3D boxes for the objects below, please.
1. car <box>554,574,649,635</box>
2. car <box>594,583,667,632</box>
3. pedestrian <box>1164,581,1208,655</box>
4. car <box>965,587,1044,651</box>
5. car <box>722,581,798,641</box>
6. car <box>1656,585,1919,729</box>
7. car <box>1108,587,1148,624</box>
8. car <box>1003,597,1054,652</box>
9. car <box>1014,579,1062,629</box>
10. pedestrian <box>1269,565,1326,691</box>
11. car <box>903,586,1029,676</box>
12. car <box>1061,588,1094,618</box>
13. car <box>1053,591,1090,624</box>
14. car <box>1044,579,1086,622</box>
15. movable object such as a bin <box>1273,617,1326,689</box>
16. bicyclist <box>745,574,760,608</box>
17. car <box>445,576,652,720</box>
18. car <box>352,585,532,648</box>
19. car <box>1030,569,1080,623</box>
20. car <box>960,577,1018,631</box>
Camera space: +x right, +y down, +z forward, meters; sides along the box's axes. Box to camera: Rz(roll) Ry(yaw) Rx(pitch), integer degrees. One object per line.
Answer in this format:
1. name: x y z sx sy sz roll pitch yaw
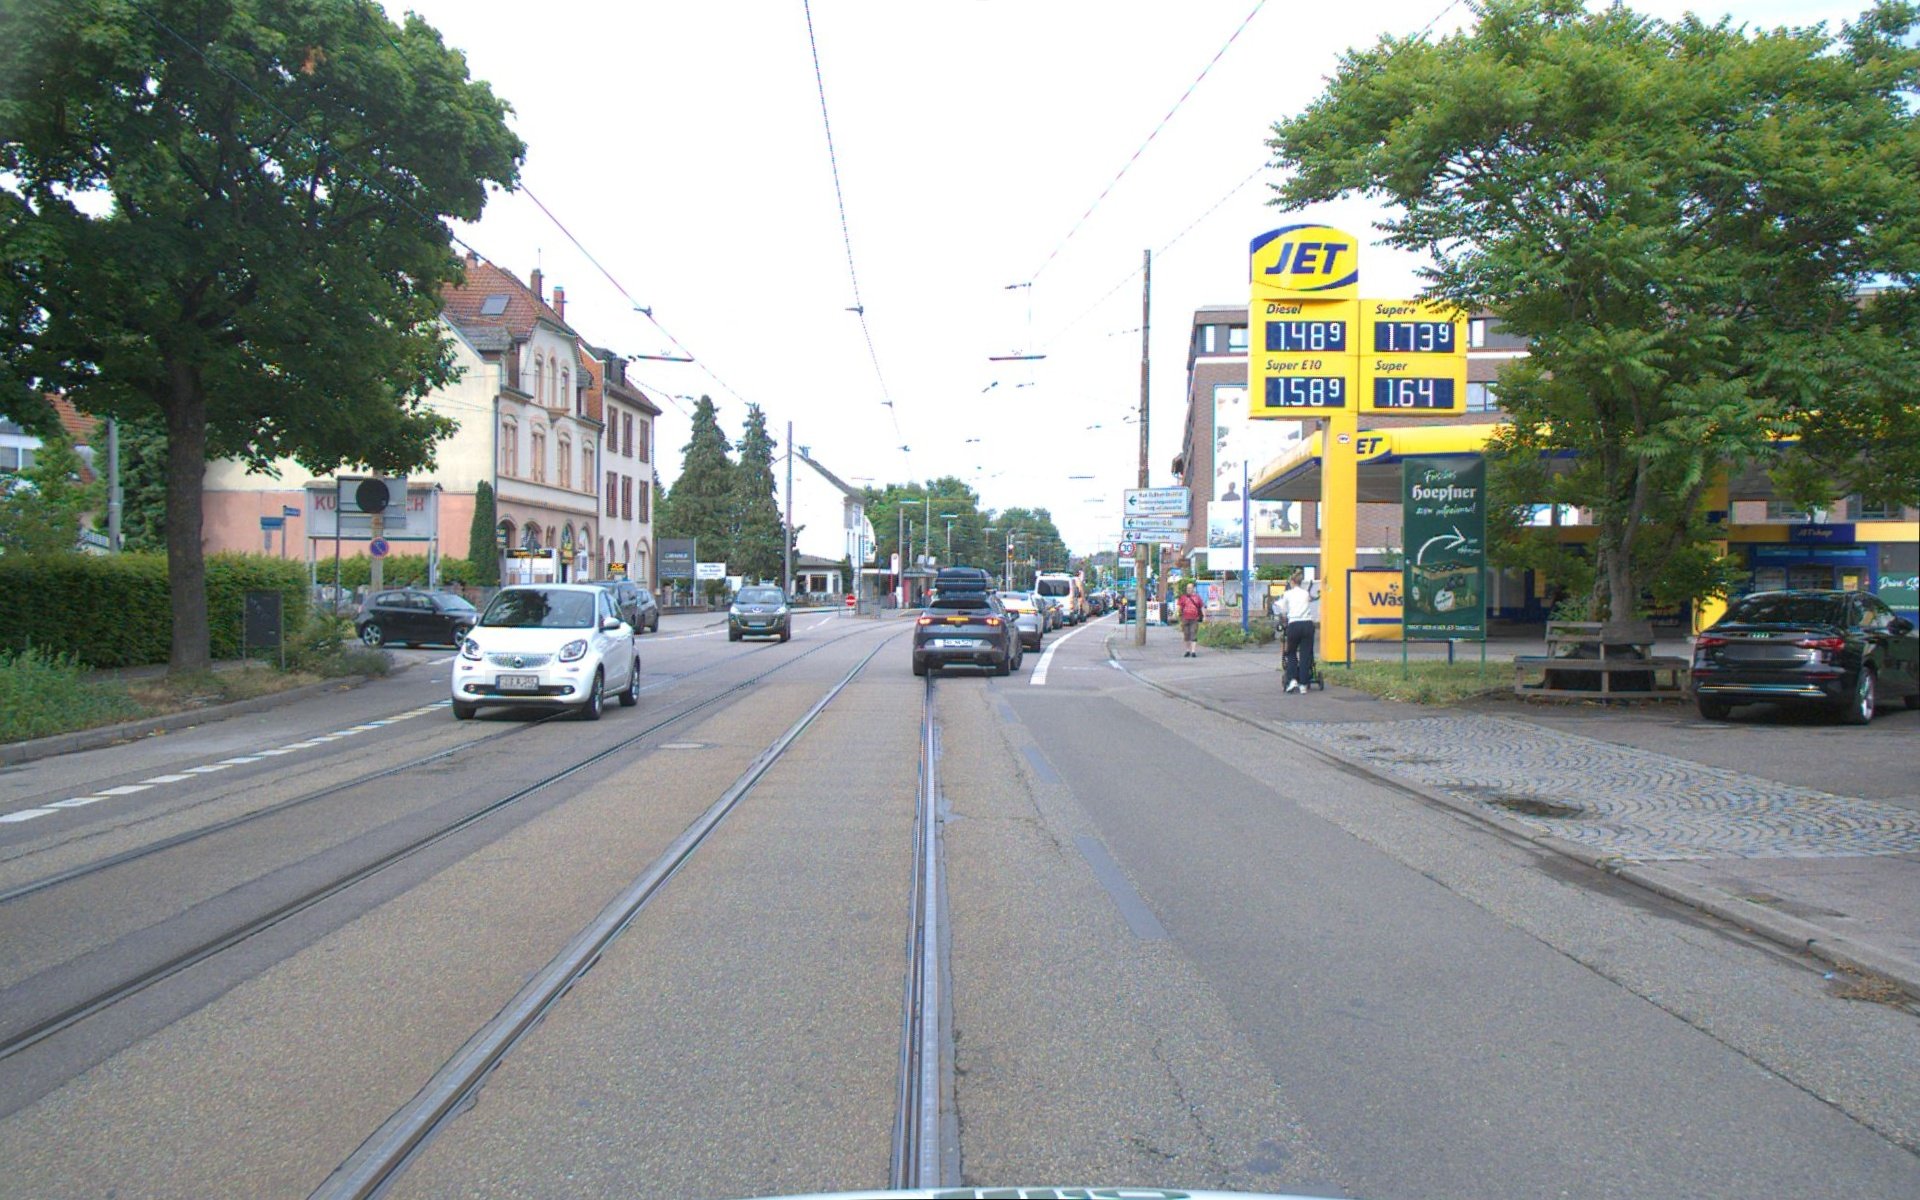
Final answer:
1. car: -12.192 0.166 56.579 1.950 1.920 4.999 2 0 2
2. car: -12.500 0.290 62.960 1.806 1.748 4.193 2 0 1
3. pedestrian: 5.579 0.443 40.871 0.951 1.769 0.861 -1 -1 2
4. car: 1.147 0.483 44.590 1.941 1.577 4.182 2 0 -1
5. car: -6.058 0.333 50.508 1.790 1.768 4.334 0 0 0
6. car: 9.867 0.560 19.177 1.901 1.432 4.556 0 1 42
7. car: 8.935 0.298 88.331 1.835 1.855 4.097 2 -1 2
8. car: 2.715 0.971 66.304 1.952 2.049 4.000 2 -1 1
9. car: 3.421 0.176 72.440 1.952 2.049 4.001 2 -1 3
10. pedestrian: 5.089 0.417 24.910 0.751 1.828 1.163 -2 -1 13
11. car: 0.198 0.564 31.451 1.948 1.523 4.328 2 0 5
12. car: 8.369 0.214 118.317 1.953 2.049 3.999 2 -1 -1
13. car: 7.129 0.484 106.122 1.953 2.049 3.999 2 -1 -1
14. car: 5.651 0.068 89.629 2.095 2.183 4.745 2 -1 2
15. movable object such as a bin: 5.276 0.813 25.662 0.751 1.057 1.025 -2 0 13
16. bicyclist: -10.760 -0.467 85.858 0.722 1.780 0.976 0 0 -11
17. car: -4.886 0.548 20.106 1.669 1.556 3.740 1 0 -2
18. car: -12.537 0.384 40.054 3.838 1.412 1.802 1 0 20
19. car: 4.575 -0.158 80.230 2.171 2.465 4.952 2 -1 1
20. car: 1.015 0.142 58.827 1.928 1.787 3.838 2 -1 1
